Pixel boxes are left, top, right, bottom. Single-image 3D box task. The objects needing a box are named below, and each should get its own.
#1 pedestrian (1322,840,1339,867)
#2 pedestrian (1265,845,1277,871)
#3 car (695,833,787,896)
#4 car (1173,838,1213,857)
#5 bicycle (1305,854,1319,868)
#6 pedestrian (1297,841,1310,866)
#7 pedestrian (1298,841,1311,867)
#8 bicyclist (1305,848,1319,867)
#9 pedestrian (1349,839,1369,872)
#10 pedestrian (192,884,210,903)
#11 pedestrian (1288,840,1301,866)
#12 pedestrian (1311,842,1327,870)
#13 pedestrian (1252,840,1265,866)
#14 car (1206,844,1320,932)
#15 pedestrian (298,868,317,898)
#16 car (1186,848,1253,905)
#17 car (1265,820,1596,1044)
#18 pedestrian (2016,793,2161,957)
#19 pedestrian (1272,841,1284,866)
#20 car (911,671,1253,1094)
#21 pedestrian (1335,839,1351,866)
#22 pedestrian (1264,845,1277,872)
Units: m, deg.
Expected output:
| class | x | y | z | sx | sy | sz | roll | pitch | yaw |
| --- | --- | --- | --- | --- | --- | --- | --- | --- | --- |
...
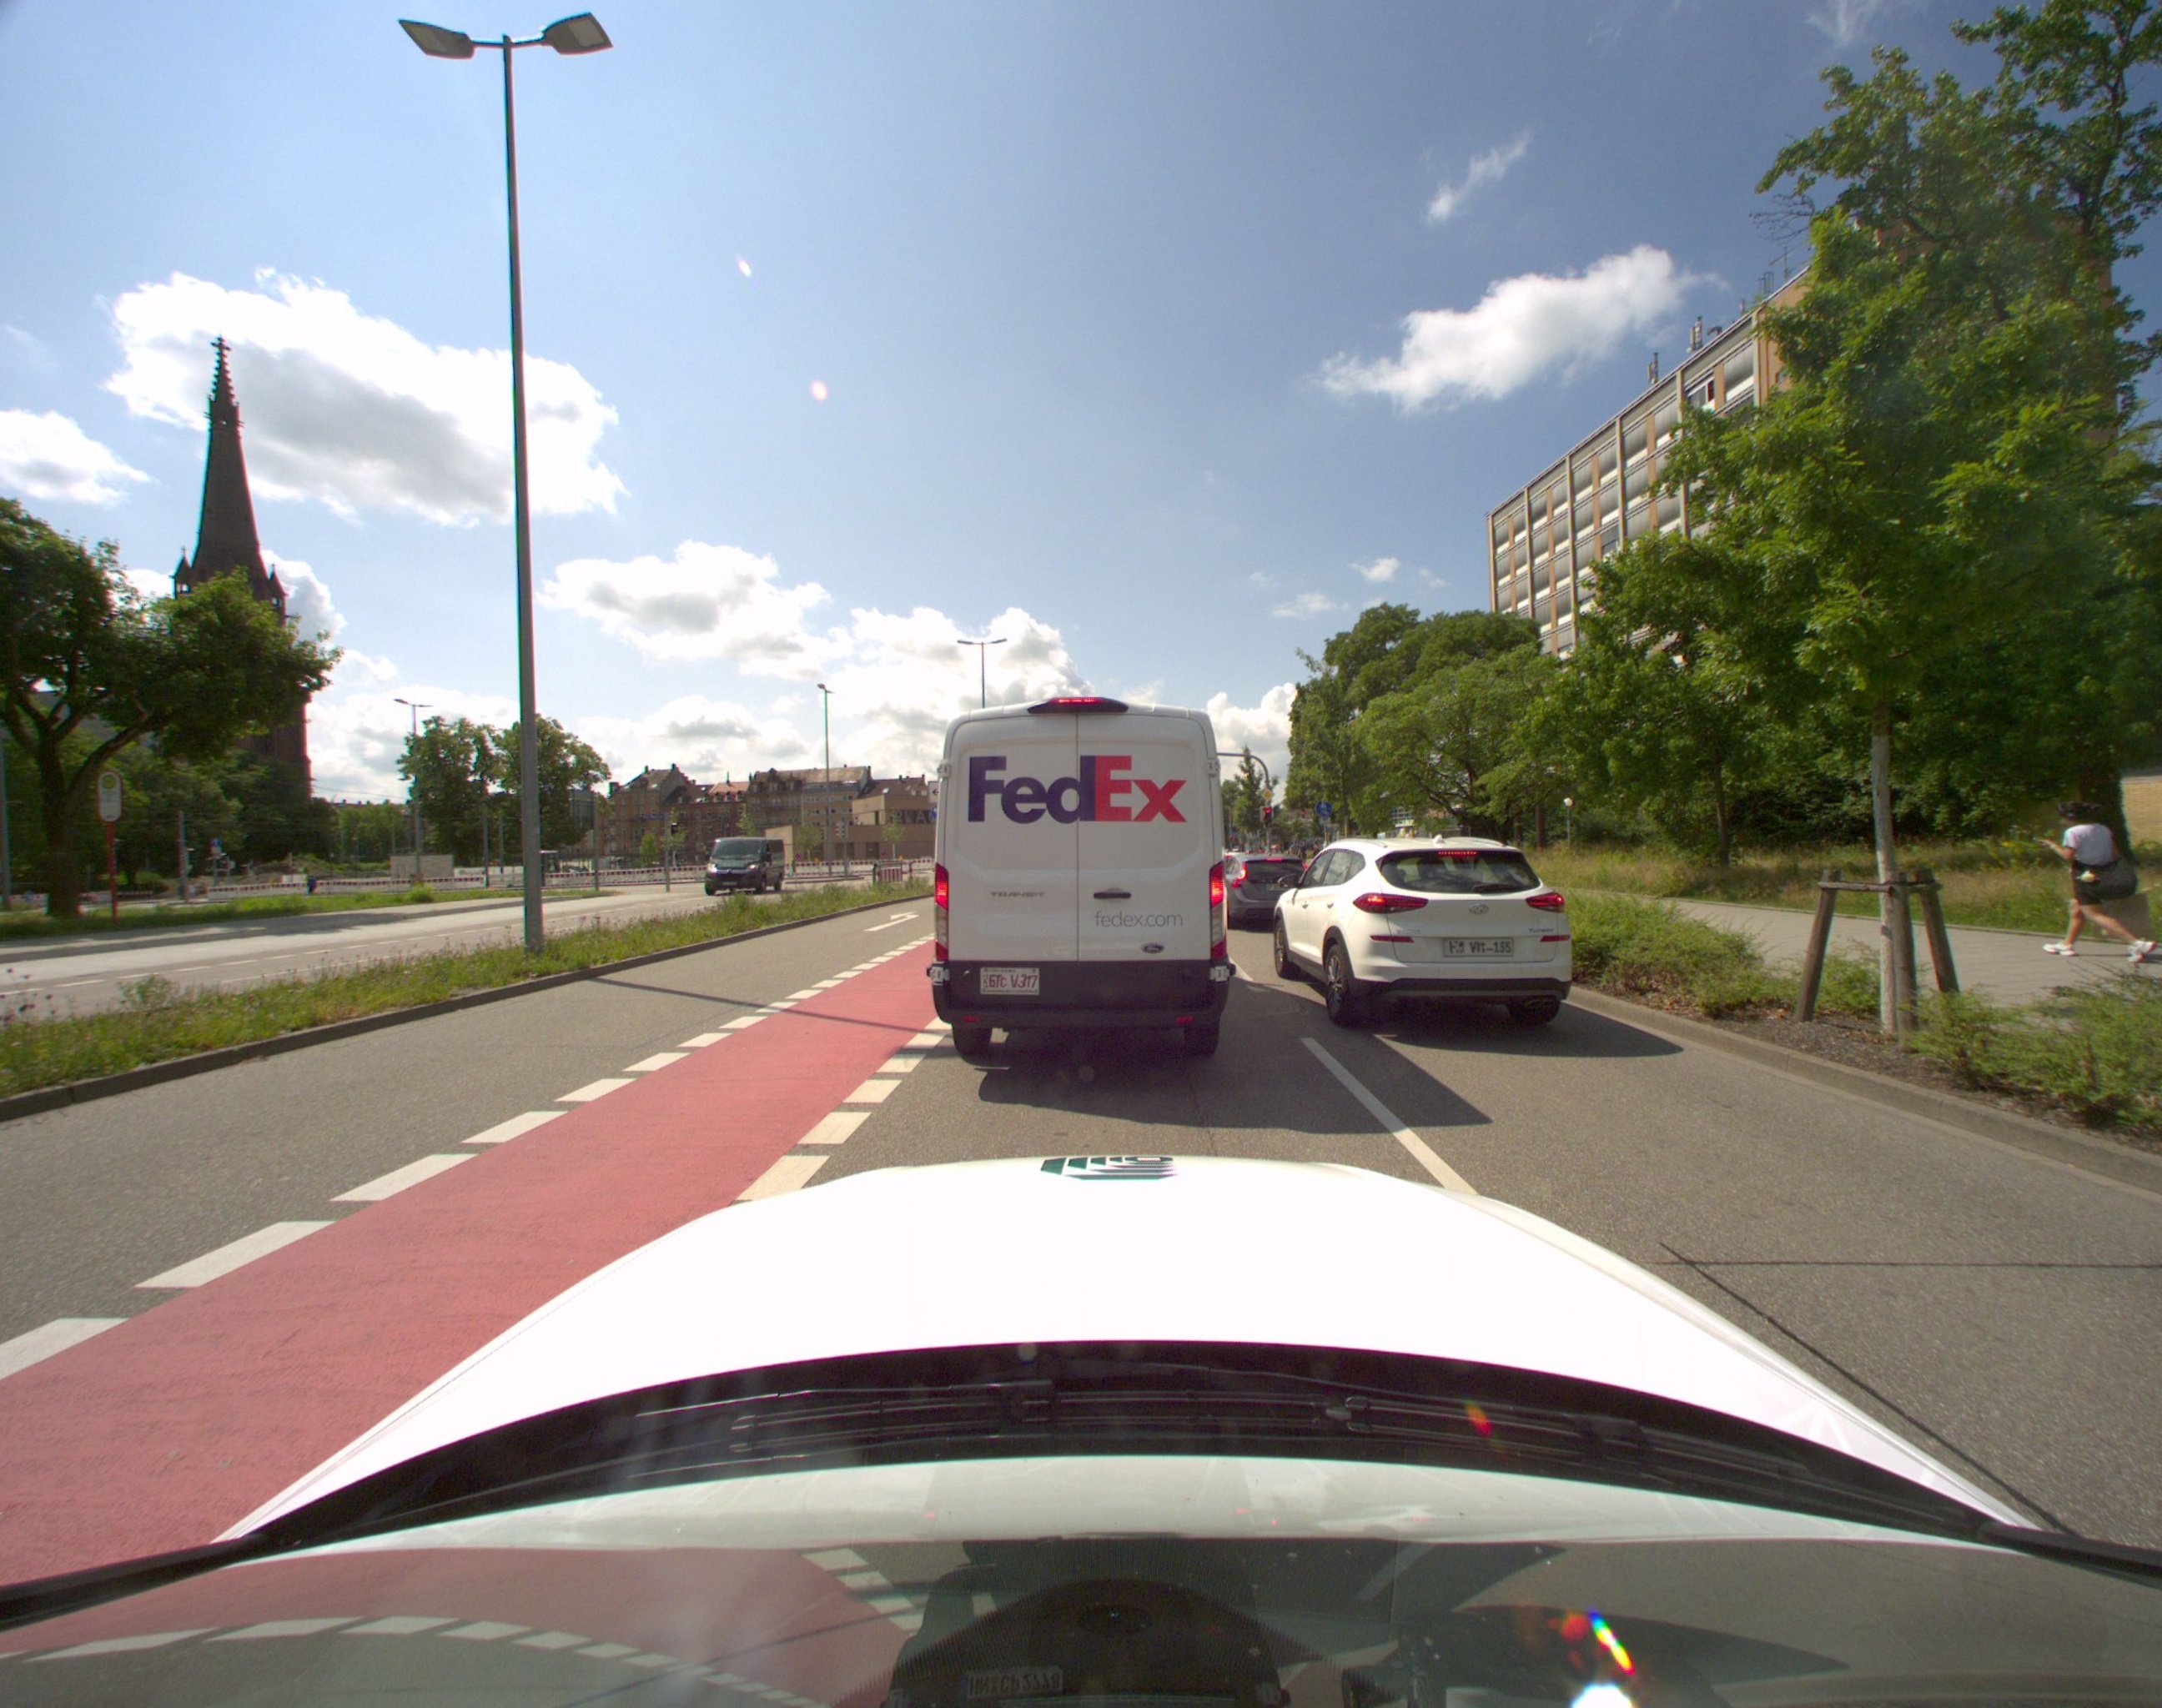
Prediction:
| class | x | y | z | sx | sy | sz | roll | pitch | yaw |
| --- | --- | --- | --- | --- | --- | --- | --- | --- | --- |
| pedestrian | 17.113 | -0.034 | 55.870 | 0.758 | 1.849 | 0.814 | -2 | 0 | -8 |
| pedestrian | 13.716 | 0.308 | 58.882 | 0.753 | 1.849 | 0.820 | -2 | 0 | 16 |
| car | -13.273 | 0.388 | 32.128 | 2.148 | 2.175 | 5.001 | -4 | 0 | -10 |
| car | 16.662 | -0.971 | 120.881 | 2.464 | 2.717 | 7.128 | -1 | -1 | 41 |
| bicycle | 27.340 | 0.819 | 96.372 | 1.414 | 1.464 | 4.330 | -2 | 0 | 17 |
| pedestrian | 16.291 | -0.047 | 59.562 | 0.755 | 1.849 | 0.817 | -2 | 0 | 5 |
| pedestrian | 15.530 | -0.010 | 56.685 | 0.754 | 1.789 | 0.818 | -2 | 0 | 10 |
| bicyclist | 27.352 | 0.444 | 96.419 | 1.421 | 2.171 | 1.345 | -2 | 0 | 17 |
| pedestrian | 14.174 | 0.090 | 41.496 | 0.755 | 1.655 | 0.817 | -2 | 0 | 5 |
| pedestrian | -80.435 | 3.584 | 74.442 | 0.860 | 1.663 | 0.745 | -2 | 0 | -29 |
| pedestrian | 15.405 | -0.053 | 58.781 | 0.755 | 1.849 | 0.817 | -2 | 0 | 3 |
| pedestrian | 16.207 | 0.154 | 55.463 | 0.756 | 1.849 | 0.816 | -2 | 0 | -1 |
| pedestrian | 13.022 | -0.079 | 59.790 | 0.810 | 1.849 | 0.762 | -2 | 0 | 5 |
| car | 3.616 | 0.609 | 16.762 | 1.684 | 1.549 | 3.724 | -2 | 0 | 3 |
| pedestrian | -53.900 | 2.016 | 56.742 | 0.644 | 2.013 | 0.632 | -2 | 0 | -1 |
| car | 3.912 | 0.593 | 23.388 | 1.493 | 1.464 | 3.477 | -2 | 0 | 3 |
| car | 3.133 | 0.587 | 8.259 | 1.807 | 1.678 | 3.978 | -2 | 0 | 3 |
| pedestrian | 10.276 | 0.194 | 8.203 | 0.755 | 1.557 | 0.817 | -2 | 0 | 3 |
| pedestrian | 14.921 | -0.020 | 61.587 | 0.754 | 1.849 | 0.818 | -2 | 0 | 8 |
| car | 0.130 | 0.170 | 7.292 | 2.064 | 2.581 | 4.432 | -2 | 0 | 3 |
| pedestrian | 18.010 | -0.101 | 56.030 | 0.758 | 1.849 | 0.814 | -2 | 0 | -6 |
| pedestrian | 13.161 | 0.330 | 56.539 | 0.752 | 1.849 | 0.820 | -2 | 0 | 20 |
